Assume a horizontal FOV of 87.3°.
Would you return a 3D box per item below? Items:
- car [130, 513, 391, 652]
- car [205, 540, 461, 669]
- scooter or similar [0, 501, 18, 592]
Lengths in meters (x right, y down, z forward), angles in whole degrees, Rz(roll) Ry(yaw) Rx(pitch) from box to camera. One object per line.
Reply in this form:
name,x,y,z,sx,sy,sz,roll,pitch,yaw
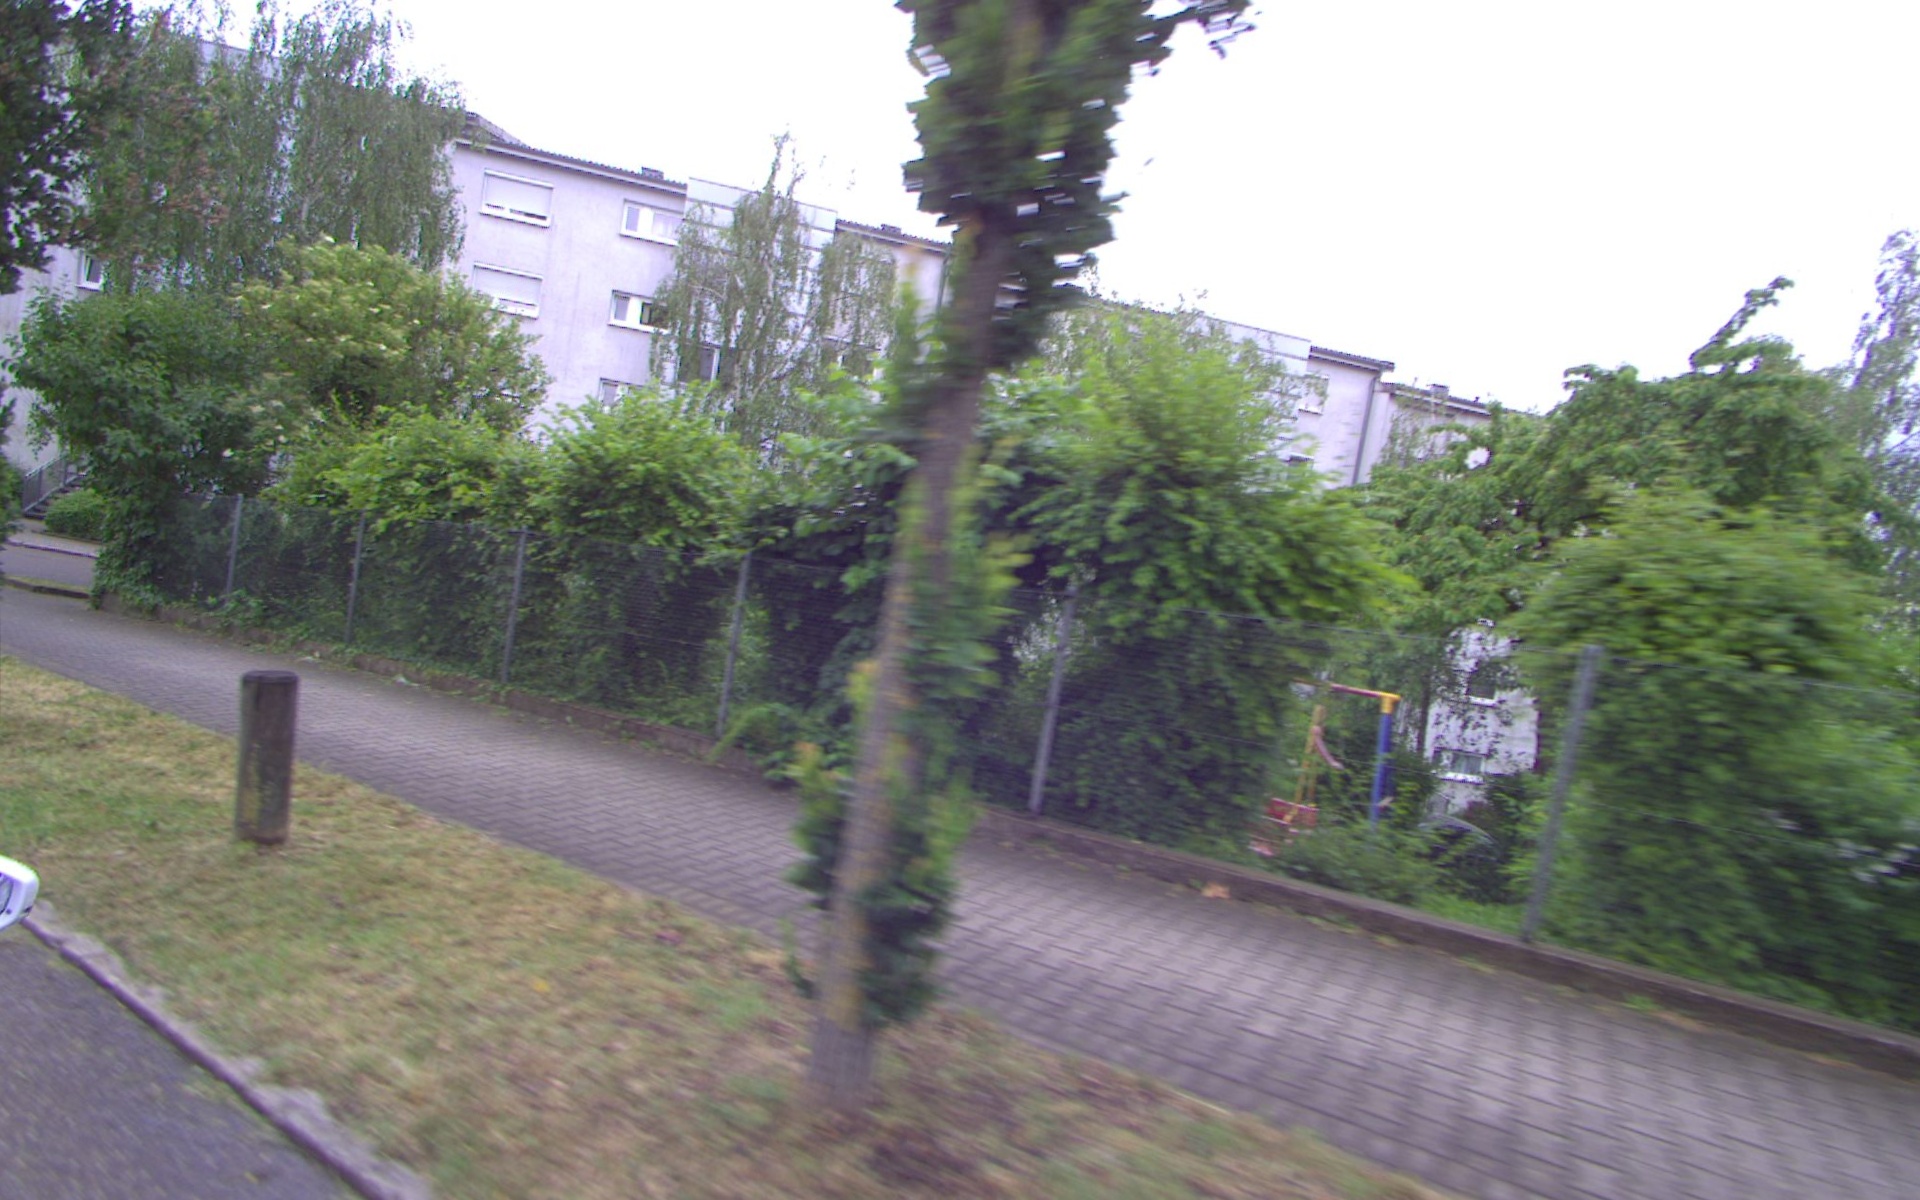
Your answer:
car,-10.430,-0.282,14.950,3.932,1.451,1.508,8,-2,30
car,-11.639,0.081,18.909,3.518,1.539,1.640,14,0,-11
scooter or similar,-14.073,-0.817,14.446,1.246,1.269,0.343,6,-1,30
